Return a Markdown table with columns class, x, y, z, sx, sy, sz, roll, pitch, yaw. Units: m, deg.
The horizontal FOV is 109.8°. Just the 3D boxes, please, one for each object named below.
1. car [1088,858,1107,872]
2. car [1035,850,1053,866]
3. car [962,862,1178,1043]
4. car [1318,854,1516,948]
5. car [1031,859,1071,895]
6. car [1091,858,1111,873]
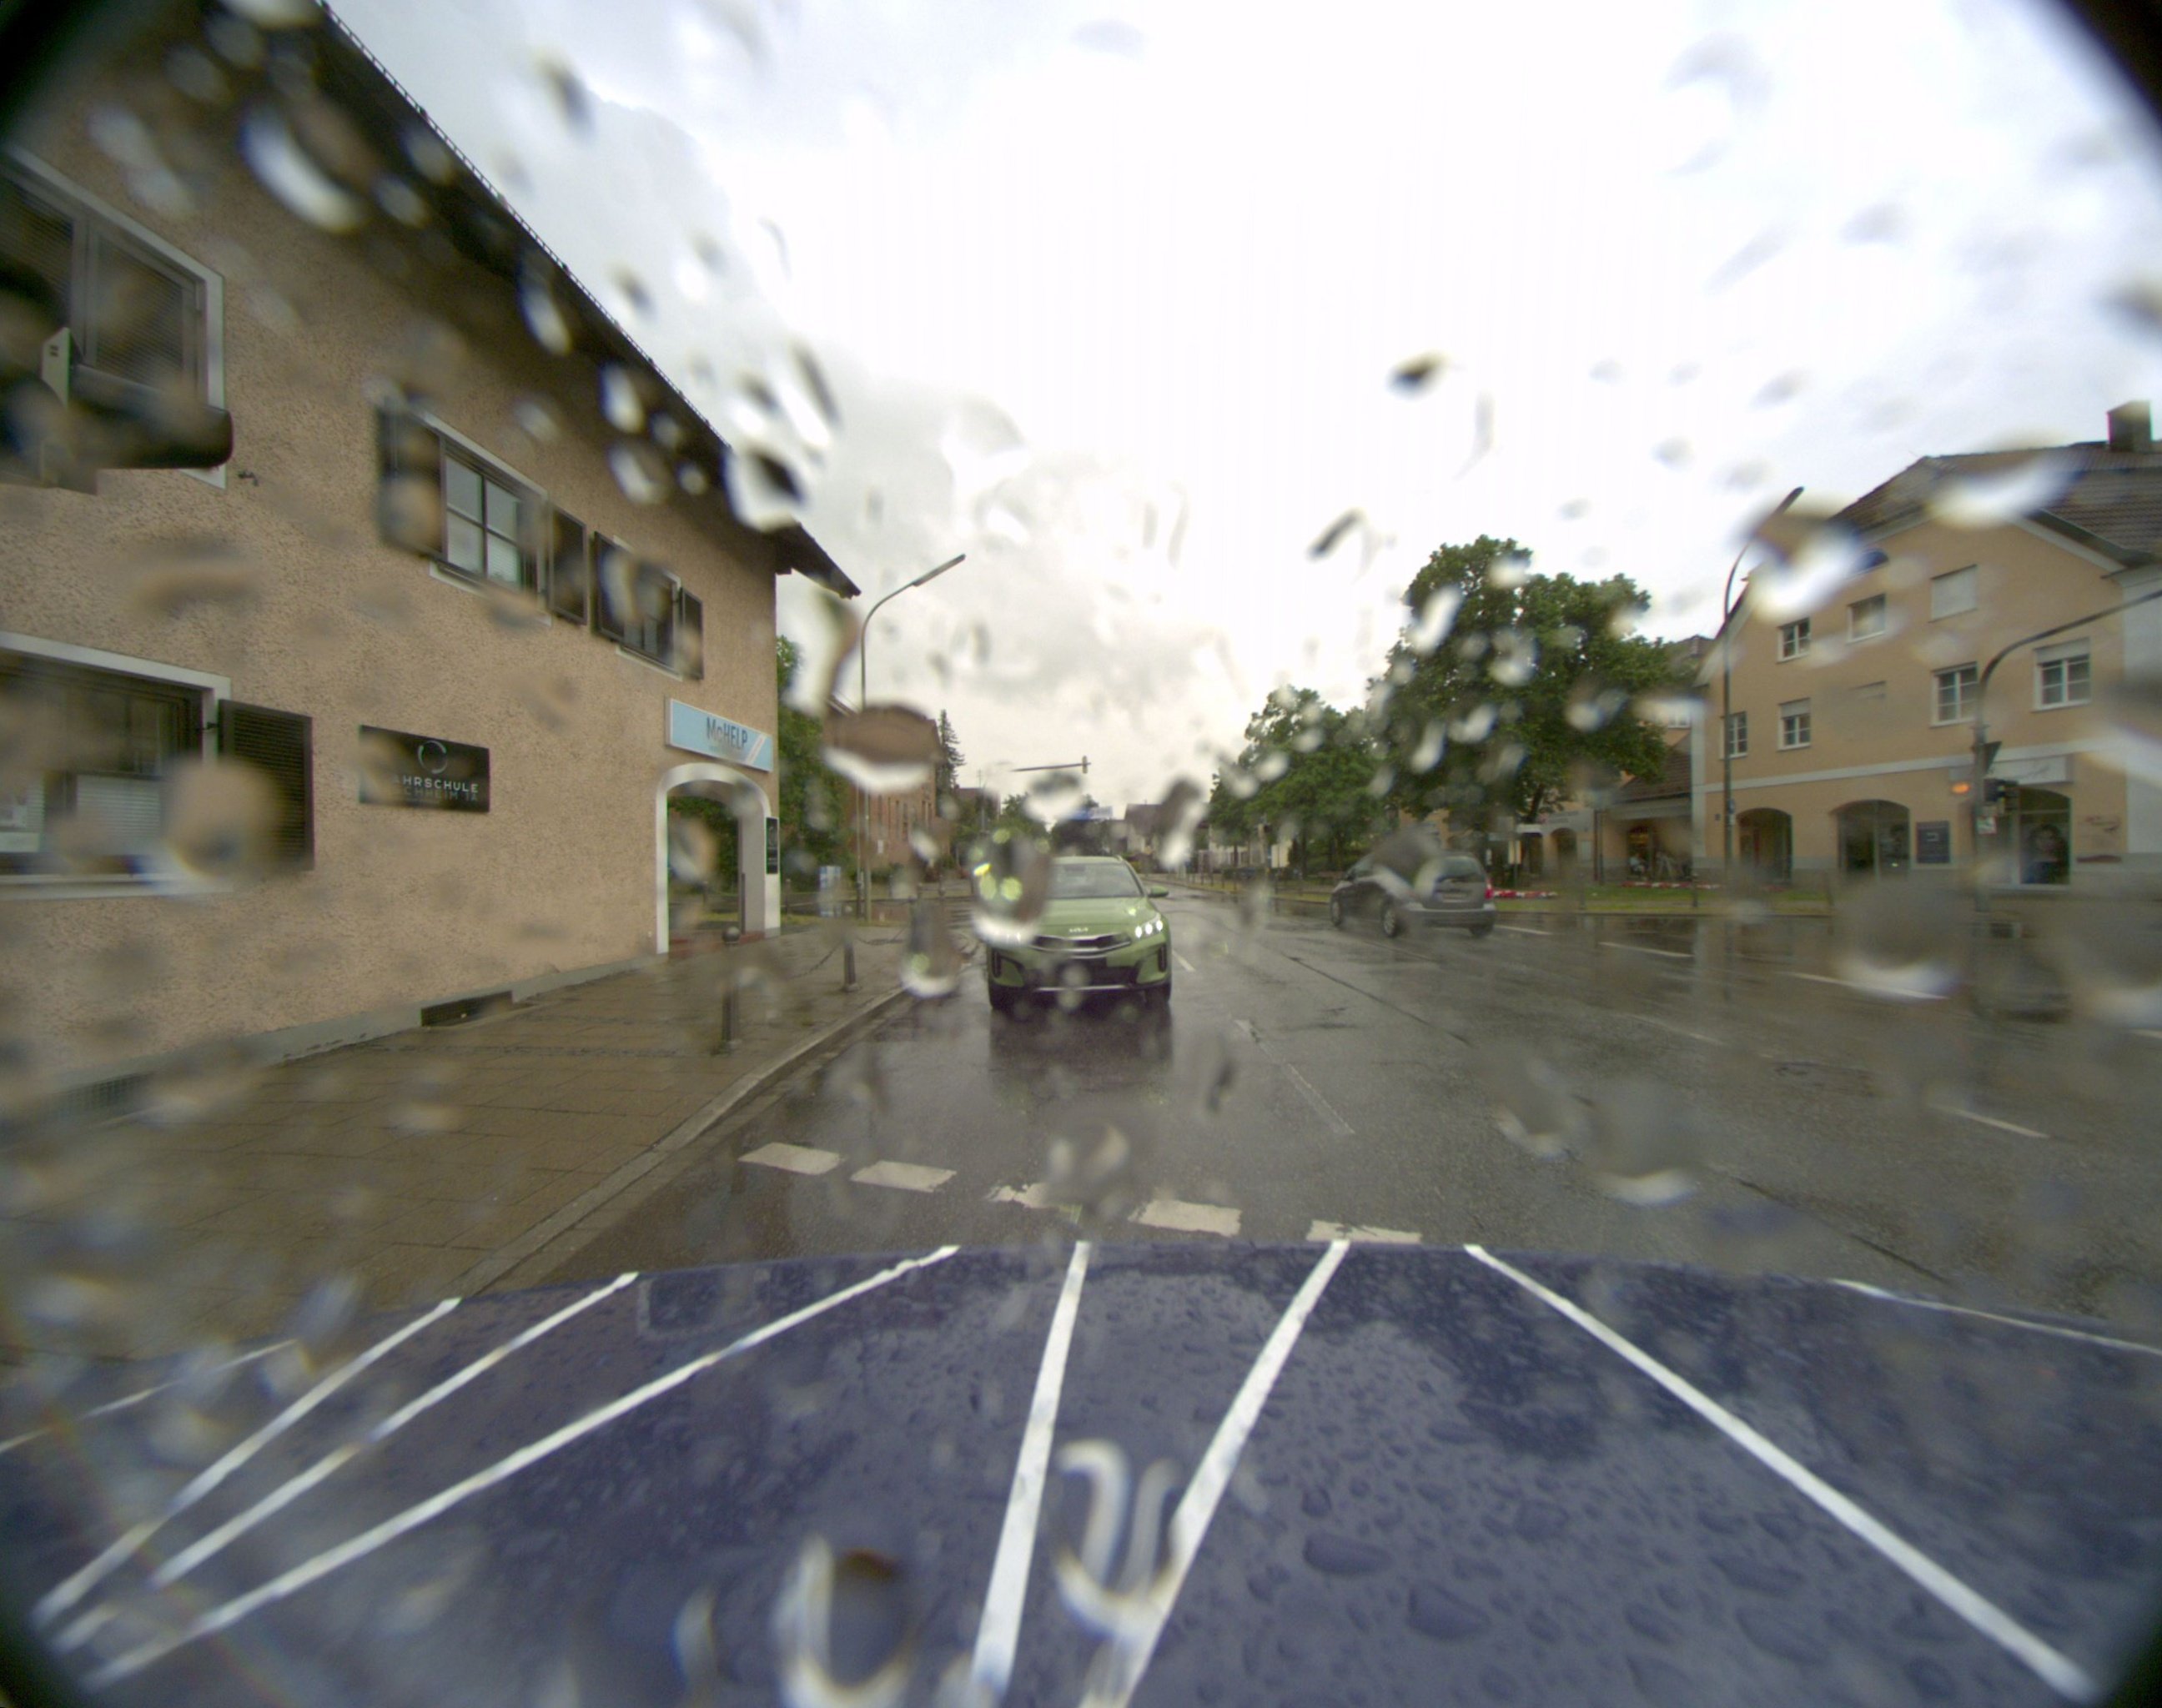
| class | x | y | z | sx | sy | sz | roll | pitch | yaw |
| --- | --- | --- | --- | --- | --- | --- | --- | --- | --- |
| car | 1.824 | 1.200 | 85.444 | 1.873 | 1.447 | 4.103 | -1 | 0 | -2 |
| car | -4.970 | 0.505 | 100.538 | 2.218 | 1.977 | 4.952 | 0 | 0 | -5 |
| car | -0.064 | 0.890 | 8.734 | 1.872 | 1.505 | 4.105 | -1 | 0 | 1 |
| car | 6.121 | 0.776 | 14.418 | 1.921 | 1.524 | 3.898 | 0 | 0 | -2 |
| car | -1.407 | 0.996 | 34.975 | 1.736 | 1.489 | 4.609 | 0 | 0 | -3 |
| car | 2.055 | 1.210 | 79.981 | 1.873 | 1.447 | 4.103 | -1 | 0 | -2 |
